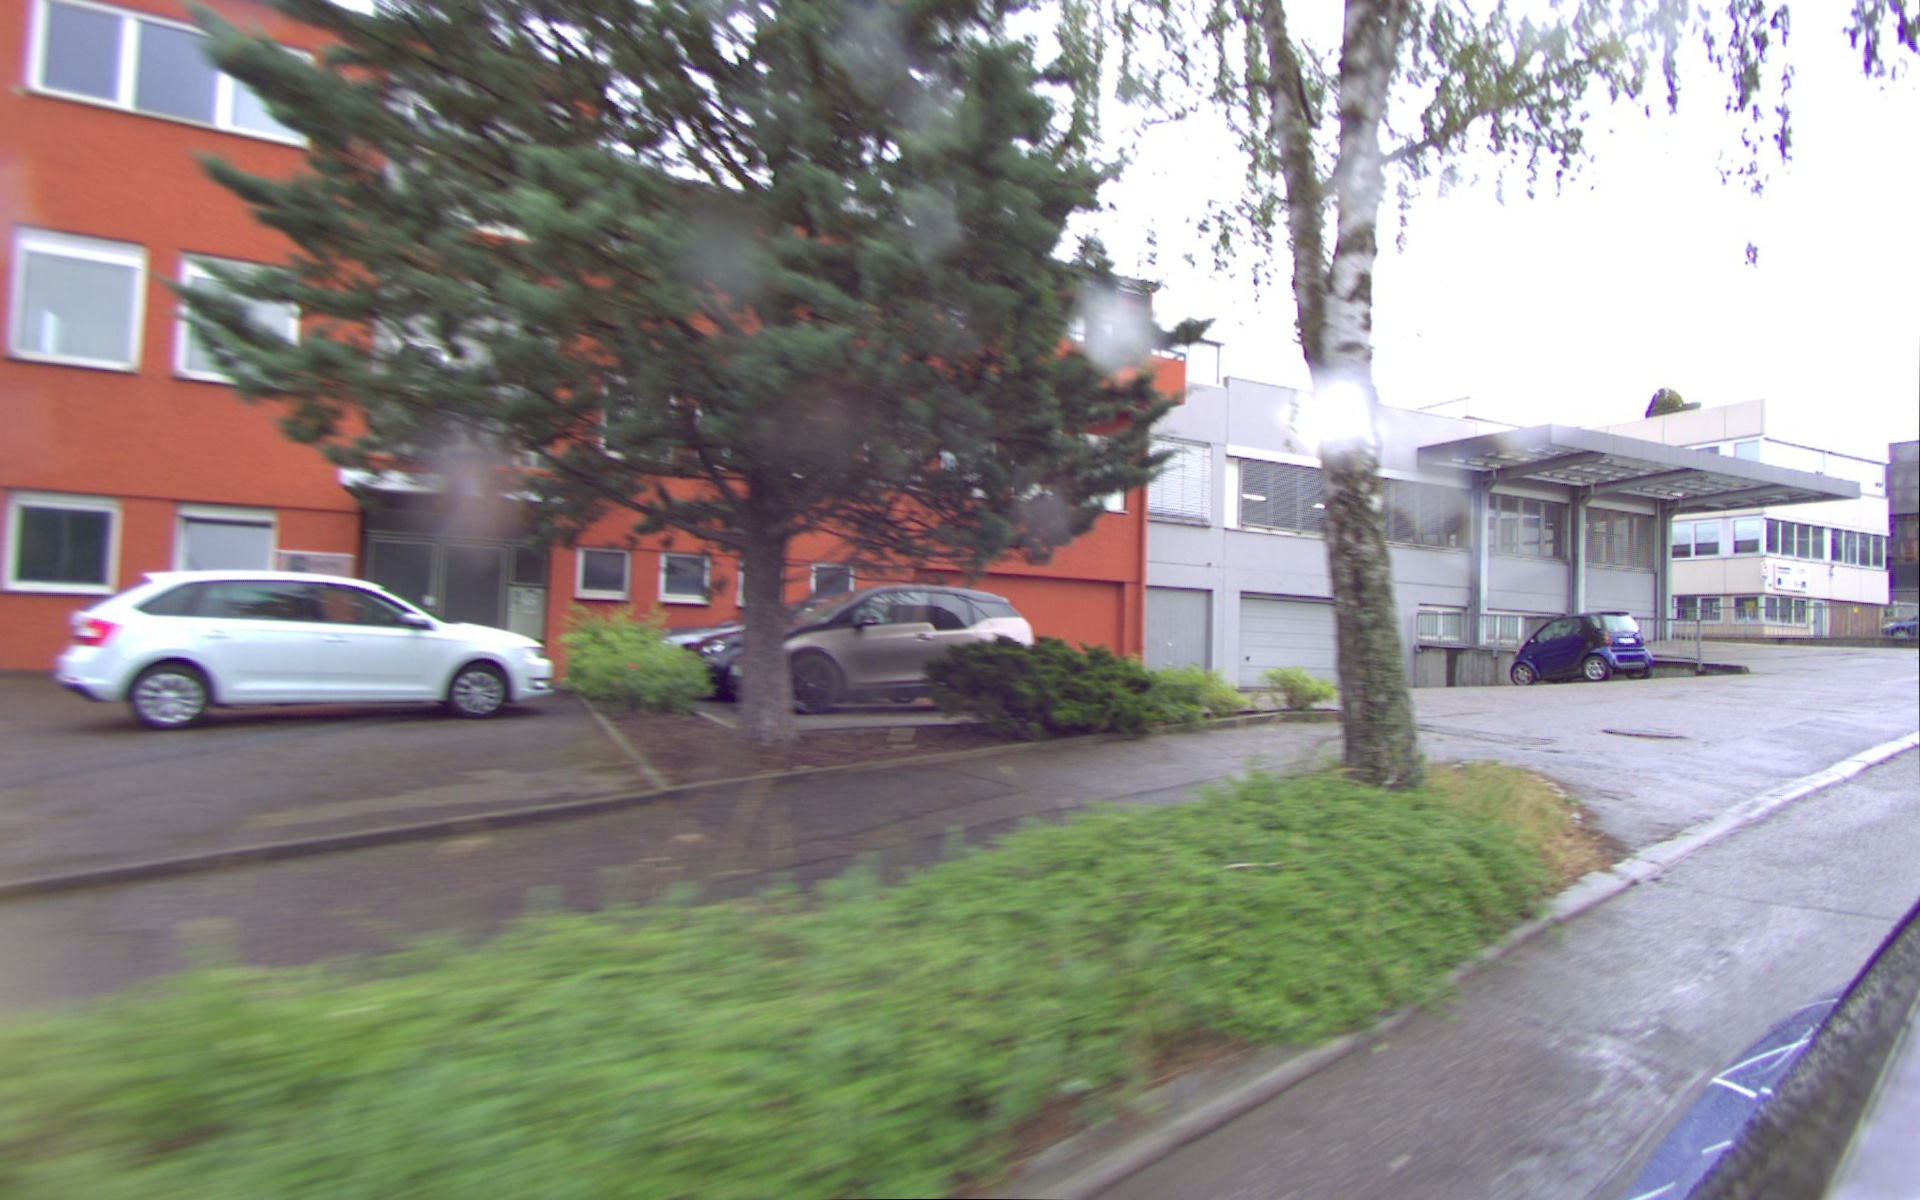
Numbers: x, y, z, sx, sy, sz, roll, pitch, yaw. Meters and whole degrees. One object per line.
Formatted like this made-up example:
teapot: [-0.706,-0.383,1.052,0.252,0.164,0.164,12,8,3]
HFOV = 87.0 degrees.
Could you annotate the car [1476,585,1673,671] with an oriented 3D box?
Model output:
car: [13.857,0.679,23.045,1.584,1.520,3.448,0,-9,-20]

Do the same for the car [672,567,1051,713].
car: [-1.270,0.467,12.908,4.417,1.599,2.005,0,-2,-23]

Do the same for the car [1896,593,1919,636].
car: [36.567,0.540,36.525,1.598,1.559,3.757,0,0,-28]

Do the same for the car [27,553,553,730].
car: [-6.723,0.341,10.560,4.249,1.489,1.909,0,1,-38]
